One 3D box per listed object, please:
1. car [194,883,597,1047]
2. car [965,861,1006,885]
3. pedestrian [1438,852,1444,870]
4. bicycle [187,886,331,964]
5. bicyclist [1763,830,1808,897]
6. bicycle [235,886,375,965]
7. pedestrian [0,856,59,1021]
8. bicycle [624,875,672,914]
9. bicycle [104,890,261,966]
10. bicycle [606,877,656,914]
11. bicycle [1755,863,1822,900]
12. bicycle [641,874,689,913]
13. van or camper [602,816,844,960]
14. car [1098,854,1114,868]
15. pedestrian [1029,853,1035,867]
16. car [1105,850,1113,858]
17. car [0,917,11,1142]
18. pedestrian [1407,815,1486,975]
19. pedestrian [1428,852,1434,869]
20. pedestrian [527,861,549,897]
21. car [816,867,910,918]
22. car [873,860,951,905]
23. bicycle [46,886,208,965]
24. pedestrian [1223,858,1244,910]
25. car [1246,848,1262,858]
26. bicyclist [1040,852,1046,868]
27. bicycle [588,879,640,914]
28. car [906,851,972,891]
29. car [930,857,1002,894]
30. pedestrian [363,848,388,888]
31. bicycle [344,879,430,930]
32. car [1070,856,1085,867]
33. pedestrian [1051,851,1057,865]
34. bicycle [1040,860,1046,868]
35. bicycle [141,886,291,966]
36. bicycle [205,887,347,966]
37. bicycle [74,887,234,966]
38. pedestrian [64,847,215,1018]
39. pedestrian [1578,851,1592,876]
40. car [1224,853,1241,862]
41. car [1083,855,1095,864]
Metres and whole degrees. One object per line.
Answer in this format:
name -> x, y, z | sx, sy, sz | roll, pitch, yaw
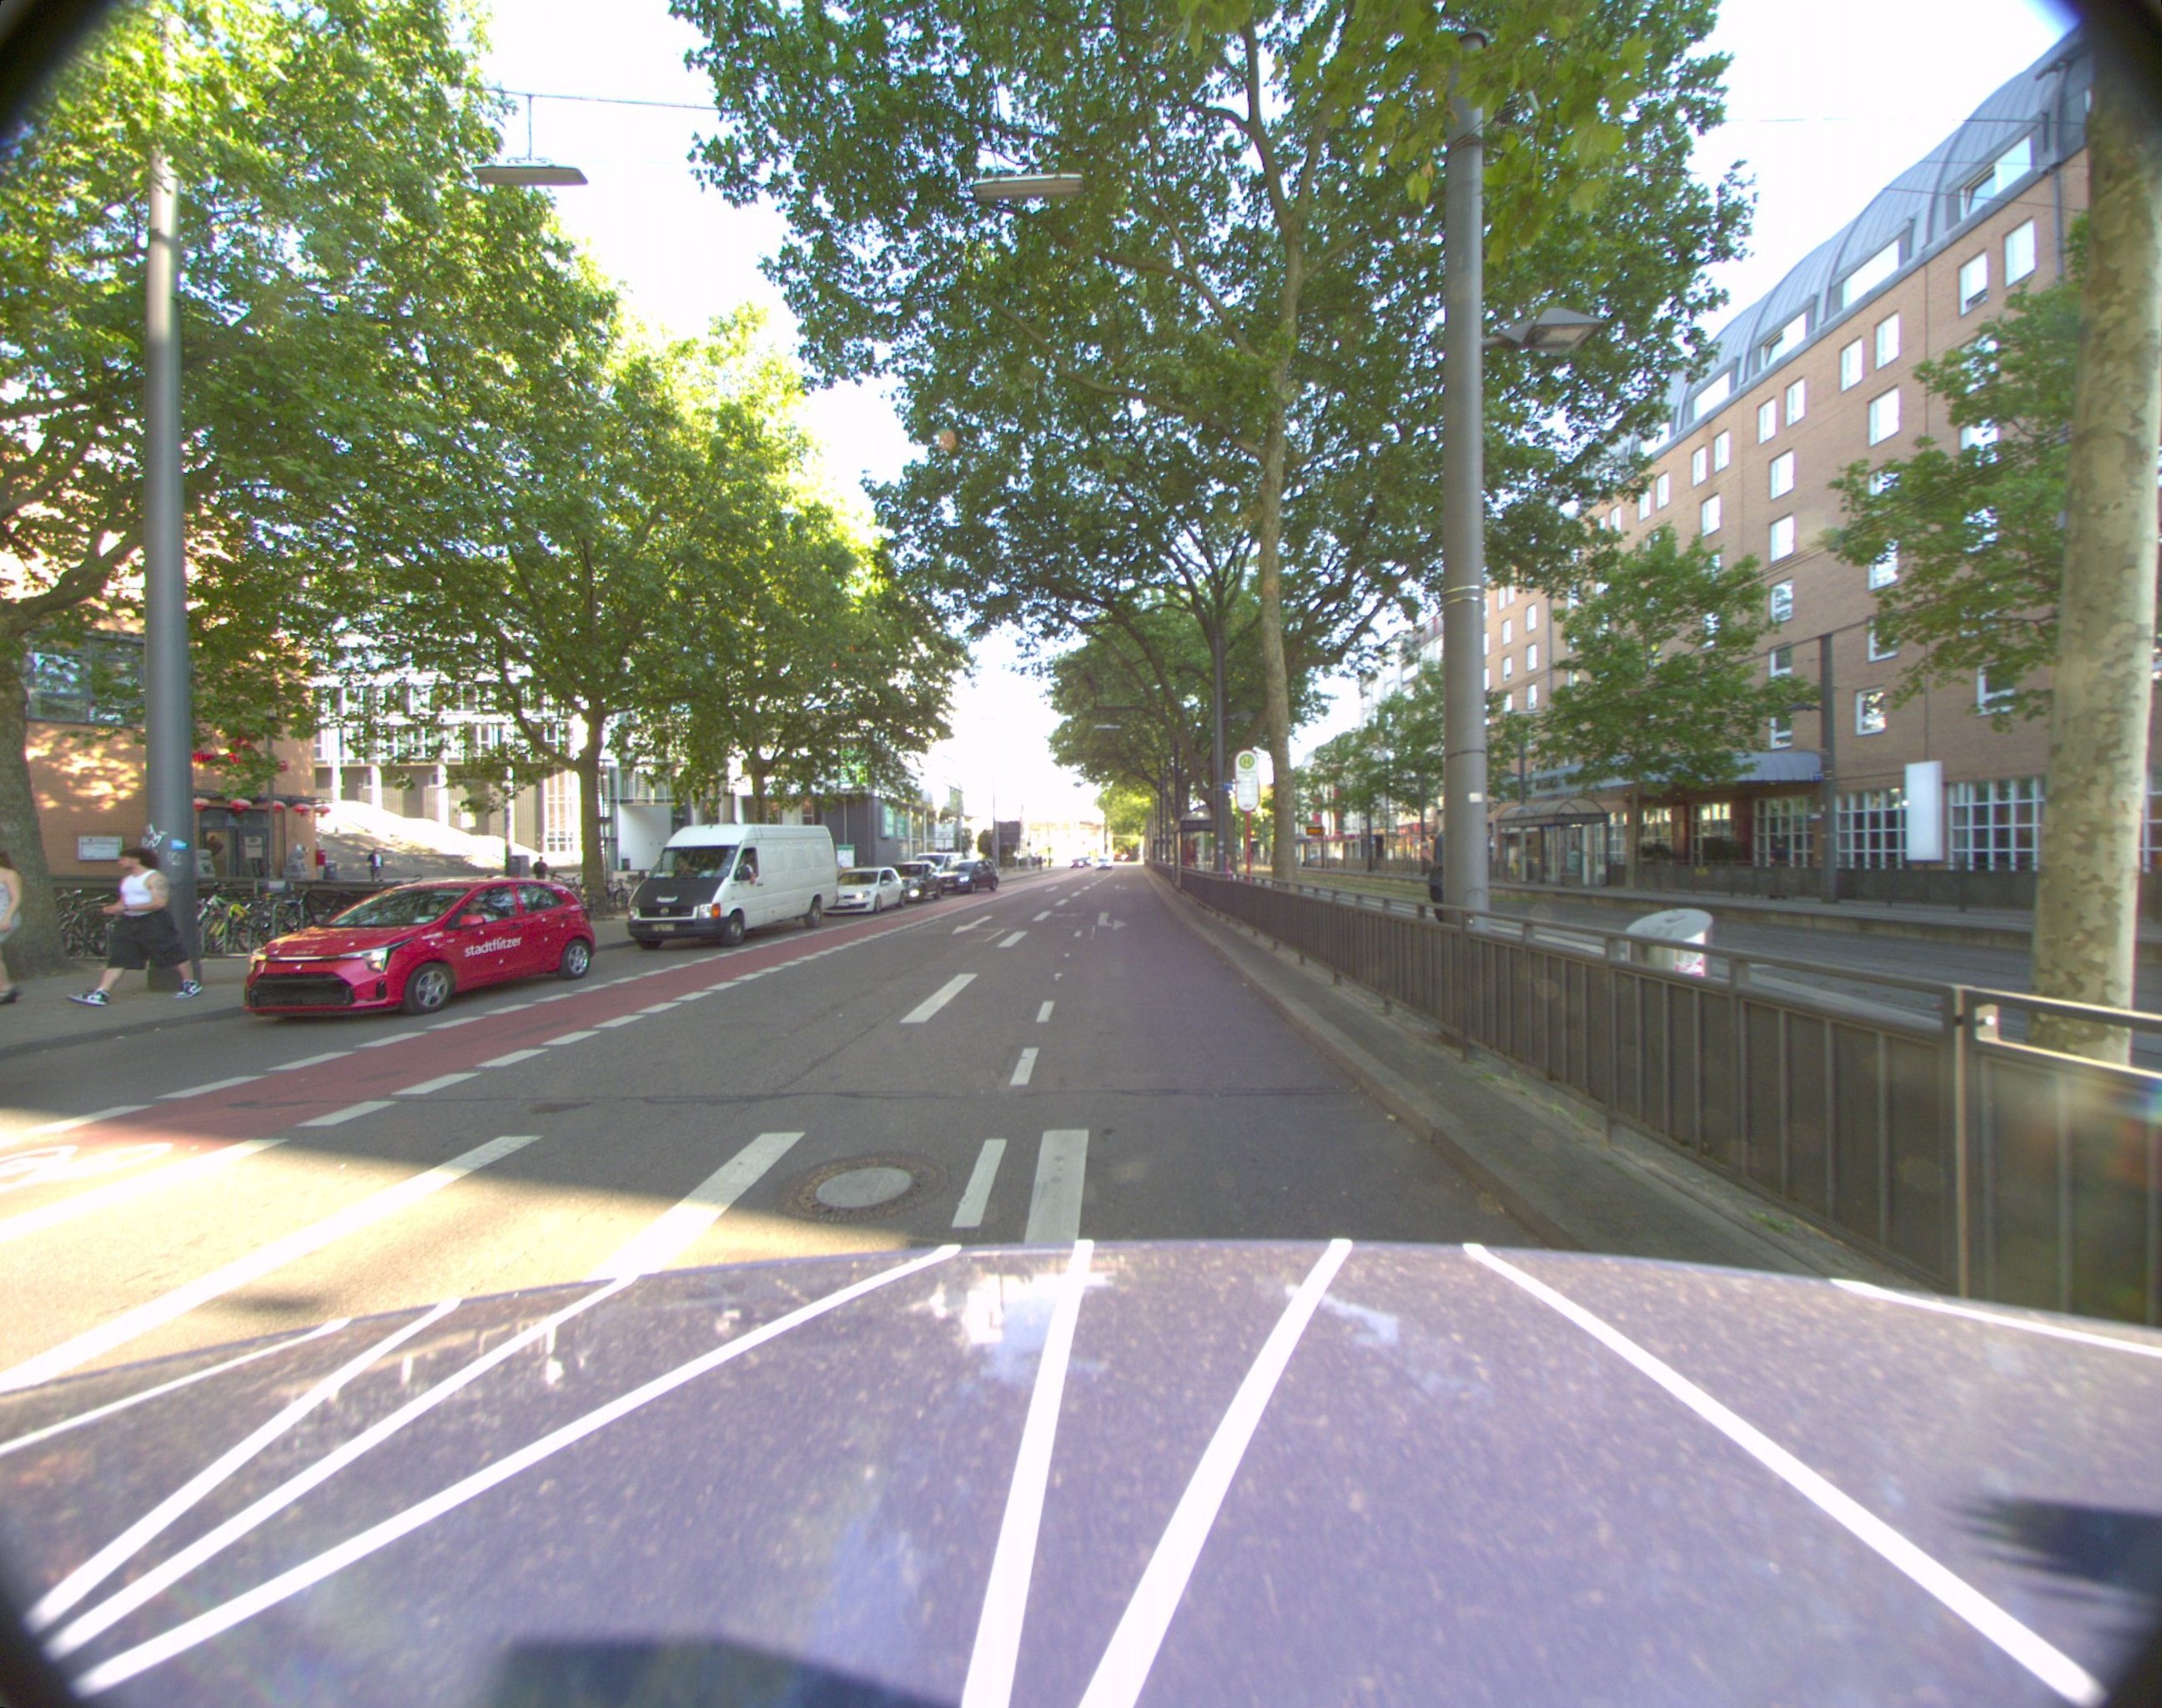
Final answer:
car -> -7.956, 1.175, 9.354 | 1.606, 1.449, 3.651 | -1, 0, 0
car -> -5.877, 1.170, 47.052 | 1.801, 1.369, 4.001 | 0, 0, 3
pedestrian -> 31.450, 0.593, 66.444 | 0.438, 1.511, 0.659 | 0, 1, 23
bicycle -> -14.325, 1.197, 13.320 | 0.484, 1.187, 1.850 | 0, 0, 1
bicyclist -> 20.351, 0.268, 21.963 | 0.572, 1.893, 0.813 | 0, 1, 6
bicycle -> -13.317, 1.191, 13.124 | 0.482, 1.187, 1.850 | 0, 0, 1
pedestrian -> -11.919, 0.912, 8.218 | 0.648, 1.766, 0.764 | -1, 0, -6
bicycle -> -14.114, 1.295, 24.816 | 0.495, 1.187, 1.850 | 0, 0, 1
bicycle -> -15.424, 1.233, 13.129 | 0.485, 1.118, 1.850 | 0, 0, 1
bicycle -> -14.658, 1.329, 24.814 | 0.522, 1.088, 1.797 | 0, 0, 1
bicycle -> 20.434, 0.781, 21.979 | 0.451, 0.998, 1.753 | -1, 0, 6
bicycle -> -13.571, 1.265, 24.837 | 0.522, 1.187, 1.850 | 0, 0, 1
van or camper -> -7.533, 0.618, 17.078 | 1.998, 2.563, 6.575 | -2, 0, 3
car -> 2.973, 0.815, 89.254 | 1.733, 1.432, 4.000 | -2, 0, 2
pedestrian -> -5.725, 0.728, 88.782 | 0.611, 1.644, 0.583 | -1, 1, 1
car -> 7.683, 0.025, 206.554 | 1.998, 2.002, 4.001 | 0, 0, 4
car -> -8.003, 1.169, 2.914 | 1.743, 1.476, 4.251 | -1, 0, 0
pedestrian -> 4.453, 0.468, 9.284 | 0.606, 1.873, 0.622 | -2, 3, -12
pedestrian -> 30.736, 0.594, 66.782 | 0.438, 1.497, 0.659 | 0, 1, 23
pedestrian -> -23.670, 1.093, 33.130 | 0.719, 1.549, 0.639 | -1, 1, -35
car -> -6.990, 1.184, 24.794 | 1.682, 1.420, 4.001 | -1, 0, 3
car -> -6.714, 1.080, 30.591 | 1.818, 1.610, 4.229 | -1, 0, 5
bicycle -> -16.386, 1.195, 13.134 | 0.435, 1.187, 1.850 | 0, 0, 1
pedestrian -> 3.933, 0.774, 19.619 | 0.500, 1.308, 0.419 | 0, 1, 8
car -> 30.451, -0.125, 133.770 | 1.998, 1.696, 4.000 | -1, 0, 1
bicyclist -> -4.294, 0.680, 85.815 | 0.673, 1.707, 0.715 | -1, 1, 1
bicycle -> -15.219, 1.362, 24.790 | 0.516, 1.027, 1.850 | 0, 0, 1
car -> -7.473, 0.859, 40.523 | 1.965, 1.983, 4.960 | -1, 0, 7
car -> -5.535, 1.012, 37.081 | 1.964, 1.610, 4.335 | -1, 0, 14
pedestrian -> -35.549, 0.695, 38.309 | 0.878, 2.025, 0.584 | -1, 1, -43
bicycle -> -17.840, 1.283, 19.587 | 0.517, 1.187, 1.790 | 0, 0, 1
car -> -0.473, 1.021, 106.064 | 1.801, 1.369, 4.001 | 0, 0, 3
pedestrian -> -3.725, 0.566, 104.075 | 0.676, 1.853, 0.741 | -2, 1, 1
bicycle -> -4.271, 1.125, 85.825 | 0.580, 0.879, 1.671 | -1, 0, 1
bicycle -> -14.841, 1.196, 13.120 | 0.447, 1.187, 1.850 | 0, 0, 1
bicycle -> -13.819, 1.201, 13.130 | 0.448, 1.187, 1.850 | 0, 0, 1
bicycle -> -15.923, 1.200, 13.131 | 0.458, 1.187, 1.850 | 0, 0, 1
pedestrian -> -10.677, 0.861, 8.652 | 0.644, 1.834, 0.813 | 3, 0, -13
pedestrian -> 29.128, 0.543, 43.910 | 0.519, 1.427, 0.516 | 0, 1, 4
car -> 26.846, 0.598, 134.511 | 1.999, 1.510, 3.998 | -1, 0, -3
car -> 1.278, 0.937, 124.976 | 1.801, 1.438, 4.001 | 0, 0, 3
